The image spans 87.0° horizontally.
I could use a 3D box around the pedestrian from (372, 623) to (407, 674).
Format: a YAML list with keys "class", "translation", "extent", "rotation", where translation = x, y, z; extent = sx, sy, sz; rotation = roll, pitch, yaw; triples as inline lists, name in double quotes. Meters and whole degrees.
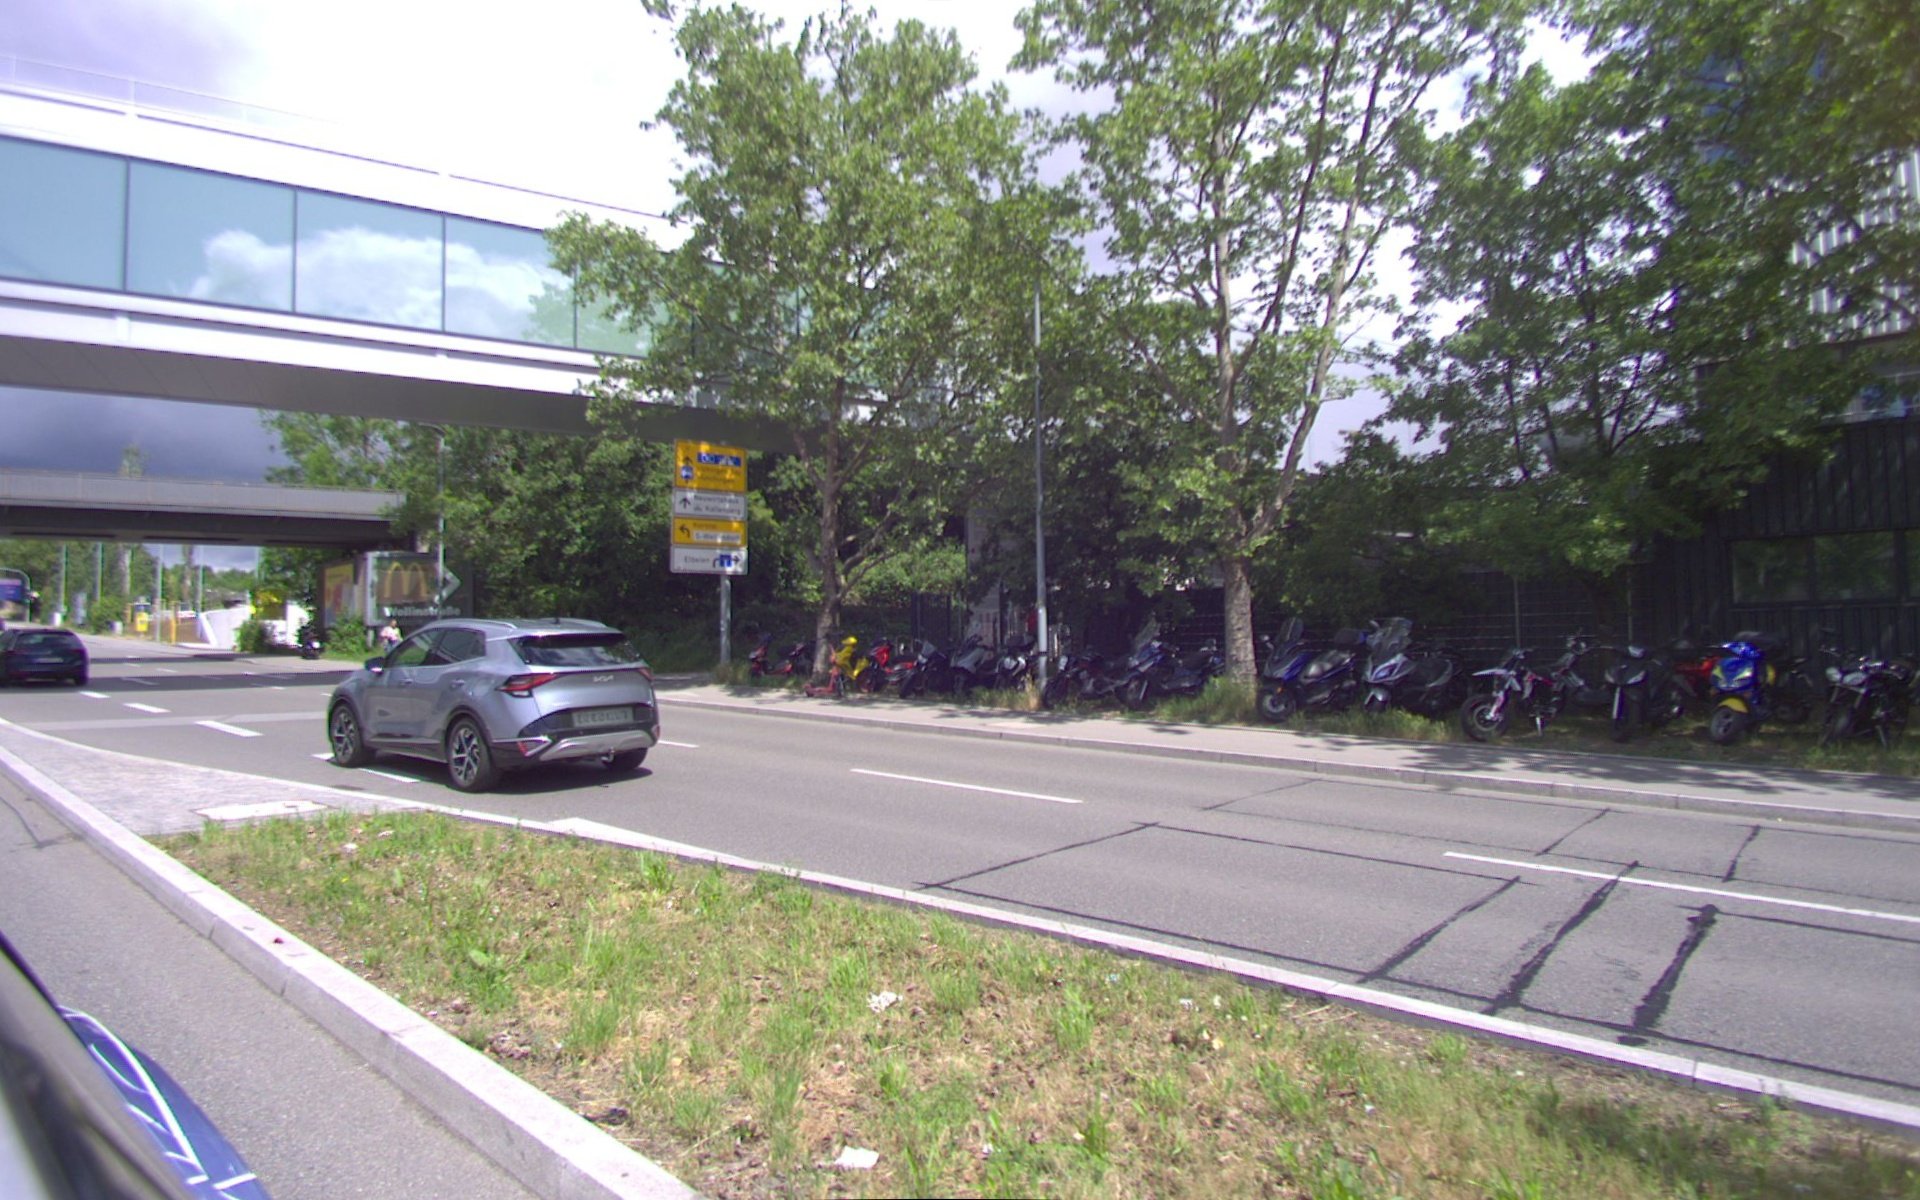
- class: "pedestrian"
  translation: [-19.071, 1.603, 33.813]
  extent: [0.813, 1.624, 0.760]
  rotation: [-1, 0, 40]

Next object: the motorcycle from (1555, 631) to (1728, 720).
- class: "motorcycle"
  translation: [10.075, 1.101, 15.018]
  extent: [0.645, 1.219, 1.984]
  rotation: [-1, -2, -44]

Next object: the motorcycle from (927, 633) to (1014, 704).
- class: "motorcycle"
  translation: [0.227, 1.257, 18.914]
  extent: [0.849, 1.188, 1.734]
  rotation: [-3, -1, 30]

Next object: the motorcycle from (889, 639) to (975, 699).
- class: "motorcycle"
  translation: [-0.529, 1.334, 19.766]
  extent: [0.776, 1.041, 1.574]
  rotation: [-4, -2, 42]

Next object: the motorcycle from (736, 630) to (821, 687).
- class: "motorcycle"
  translation: [-4.123, 1.324, 23.062]
  extent: [1.720, 1.180, 0.777]
  rotation: [-2, -2, -41]

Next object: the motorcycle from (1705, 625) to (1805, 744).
- class: "motorcycle"
  translation: [9.341, 0.948, 11.870]
  extent: [0.655, 1.219, 1.856]
  rotation: [-4, -2, 45]

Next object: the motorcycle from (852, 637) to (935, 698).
- class: "motorcycle"
  translation: [-1.368, 1.374, 20.889]
  extent: [0.776, 1.131, 1.574]
  rotation: [-4, -2, 42]

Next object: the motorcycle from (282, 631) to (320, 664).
- class: "motorcycle"
  translation: [-25.899, 1.851, 39.748]
  extent: [2.256, 1.207, 0.633]
  rotation: [-1, 1, 41]

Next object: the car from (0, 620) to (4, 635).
- class: "car"
  translation: [-88.742, 2.465, 92.272]
  extent: [4.000, 1.364, 1.972]
  rotation: [-1, -3, 43]

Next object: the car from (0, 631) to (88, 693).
- class: "car"
  translation: [-24.292, 1.562, 26.311]
  extent: [4.475, 1.464, 1.692]
  rotation: [-2, -2, 39]

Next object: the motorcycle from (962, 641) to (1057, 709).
- class: "motorcycle"
  translation: [0.915, 1.325, 18.084]
  extent: [0.918, 1.124, 1.918]
  rotation: [0, -3, 30]

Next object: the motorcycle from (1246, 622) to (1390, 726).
- class: "motorcycle"
  translation: [5.237, 1.051, 14.780]
  extent: [1.905, 1.354, 0.867]
  rotation: [-2, -1, -28]

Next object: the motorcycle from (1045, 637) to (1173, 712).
- class: "motorcycle"
  translation: [2.552, 1.253, 17.365]
  extent: [1.904, 1.124, 0.924]
  rotation: [-2, -1, -22]

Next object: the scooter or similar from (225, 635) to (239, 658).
- class: "scooter or similar"
  translation: [-35.194, 2.238, 48.923]
  extent: [0.470, 1.129, 1.387]
  rotation: [2, -3, -37]

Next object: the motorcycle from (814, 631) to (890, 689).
- class: "motorcycle"
  translation: [-2.299, 1.269, 21.706]
  extent: [0.773, 1.131, 1.579]
  rotation: [-3, -1, 32]

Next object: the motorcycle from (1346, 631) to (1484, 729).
- class: "motorcycle"
  translation: [6.273, 1.062, 13.920]
  extent: [1.852, 1.188, 0.817]
  rotation: [-2, -1, -34]

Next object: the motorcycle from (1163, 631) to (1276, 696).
- class: "motorcycle"
  translation: [5.079, 1.227, 19.830]
  extent: [1.904, 1.124, 0.924]
  rotation: [-2, -1, -22]

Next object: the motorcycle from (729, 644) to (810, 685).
- class: "motorcycle"
  translation: [-4.561, 1.525, 24.193]
  extent: [1.718, 0.875, 0.778]
  rotation: [-2, -1, -29]

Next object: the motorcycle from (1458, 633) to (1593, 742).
- class: "motorcycle"
  translation: [7.119, 1.060, 12.712]
  extent: [1.854, 1.188, 0.816]
  rotation: [-2, -2, -40]

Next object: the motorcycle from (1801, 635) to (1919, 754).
- class: "motorcycle"
  translation: [9.918, 0.967, 10.874]
  extent: [1.852, 1.093, 0.796]
  rotation: [-2, -1, -33]

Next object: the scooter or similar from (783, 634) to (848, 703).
- class: "scooter or similar"
  translation: [-2.783, 1.284, 19.415]
  extent: [1.479, 1.245, 0.350]
  rotation: [0, 0, 41]

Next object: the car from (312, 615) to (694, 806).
- class: "car"
  translation: [-4.959, 1.008, 10.782]
  extent: [4.285, 1.643, 1.888]
  rotation: [-2, -2, 37]

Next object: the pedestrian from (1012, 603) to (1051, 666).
- class: "pedestrian"
  translation: [1.985, 0.952, 28.176]
  extent: [0.871, 1.714, 0.986]
  rotation: [0, -2, -9]

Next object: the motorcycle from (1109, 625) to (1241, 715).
- class: "motorcycle"
  translation: [3.493, 1.109, 16.449]
  extent: [1.905, 1.300, 0.895]
  rotation: [-2, -1, -28]

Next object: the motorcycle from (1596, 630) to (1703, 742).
- class: "motorcycle"
  translation: [8.412, 1.008, 12.317]
  extent: [0.698, 1.188, 1.856]
  rotation: [-4, -2, 45]
